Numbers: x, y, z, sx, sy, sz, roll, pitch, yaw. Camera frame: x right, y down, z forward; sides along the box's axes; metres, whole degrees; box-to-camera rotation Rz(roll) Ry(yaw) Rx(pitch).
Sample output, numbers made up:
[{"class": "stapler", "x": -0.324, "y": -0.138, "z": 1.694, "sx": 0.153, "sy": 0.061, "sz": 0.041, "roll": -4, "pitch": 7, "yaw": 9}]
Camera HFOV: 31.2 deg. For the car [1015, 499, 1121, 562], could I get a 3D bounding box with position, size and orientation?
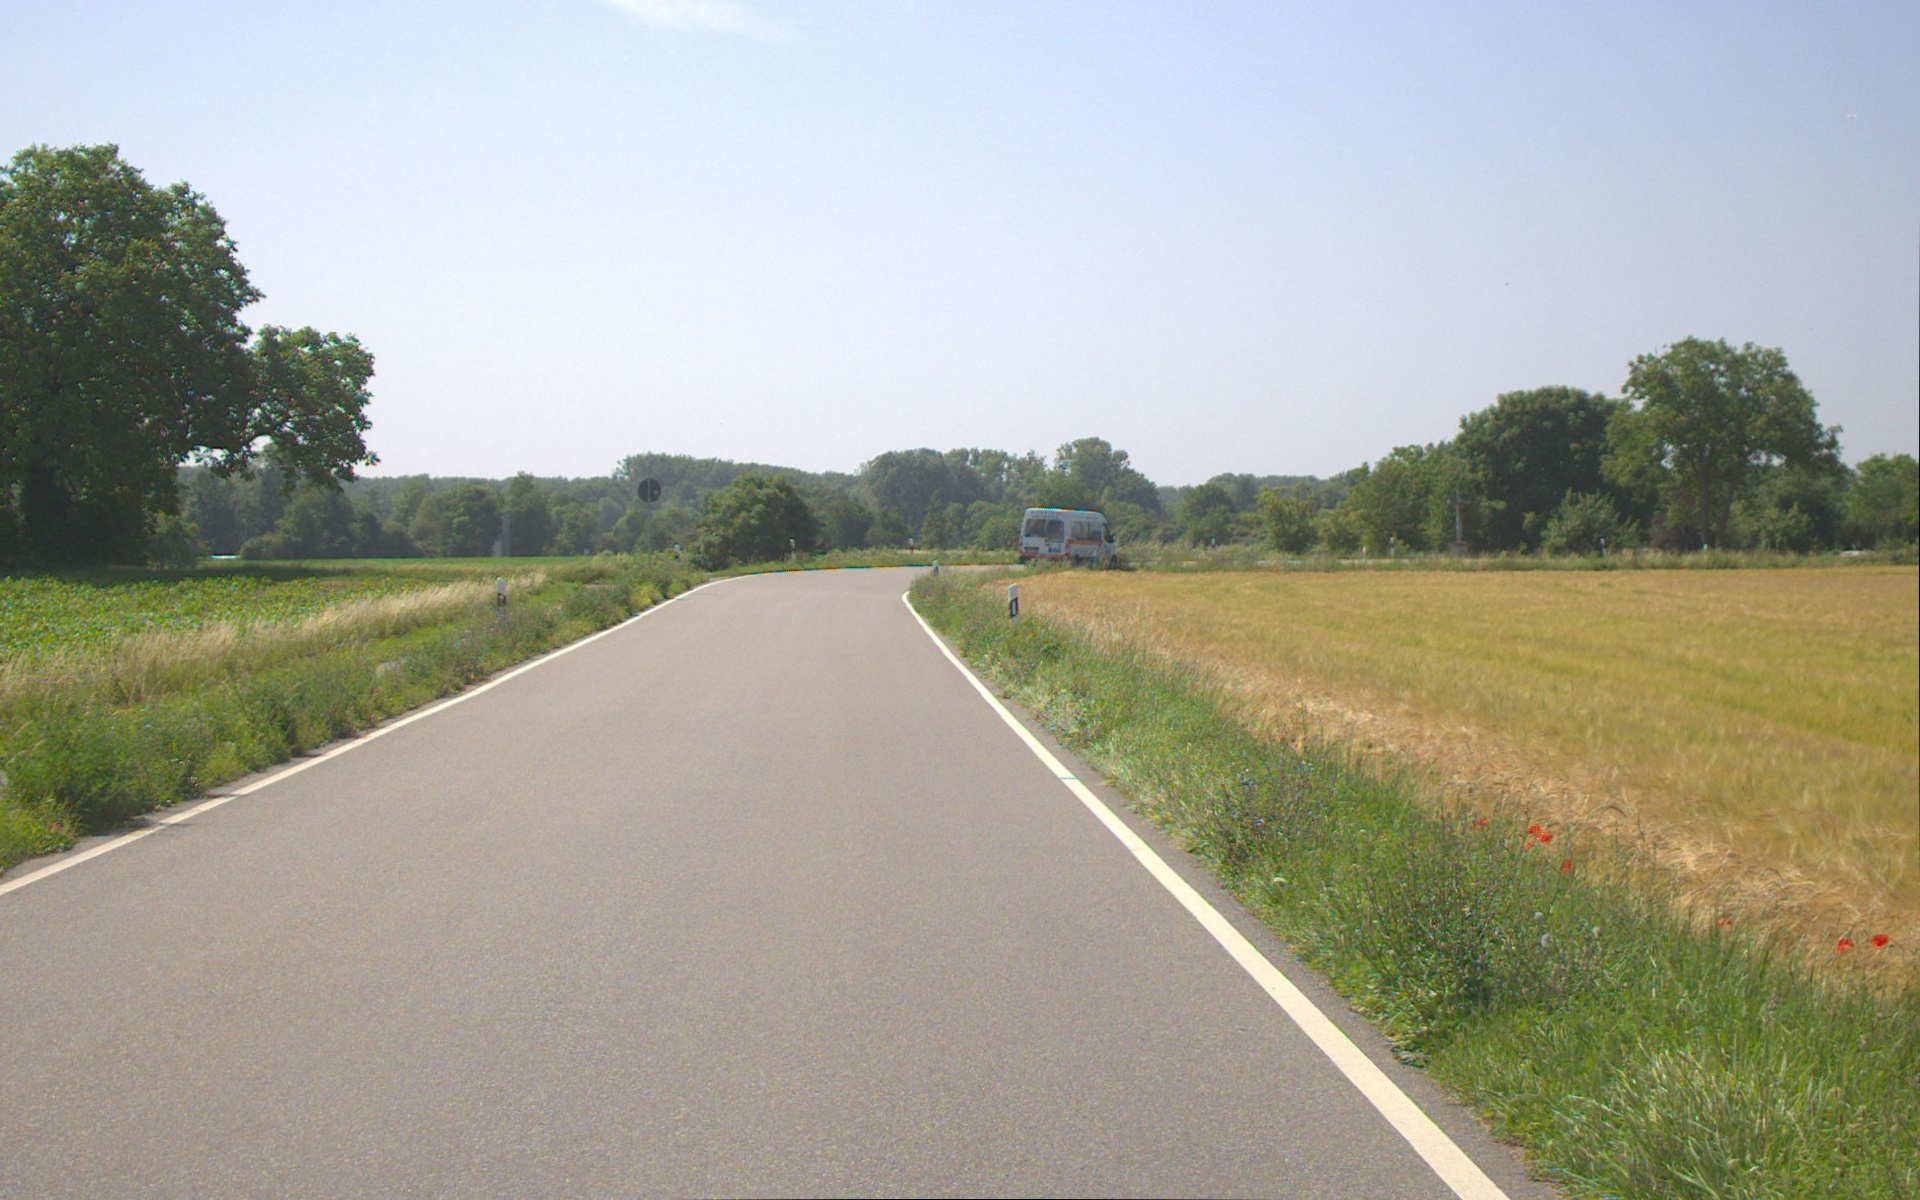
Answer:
[{"class": "car", "x": 4.177, "y": -2.670, "z": 132.142, "sx": 2.106, "sy": 2.359, "sz": 5.680, "roll": 0, "pitch": 1, "yaw": 24}]
